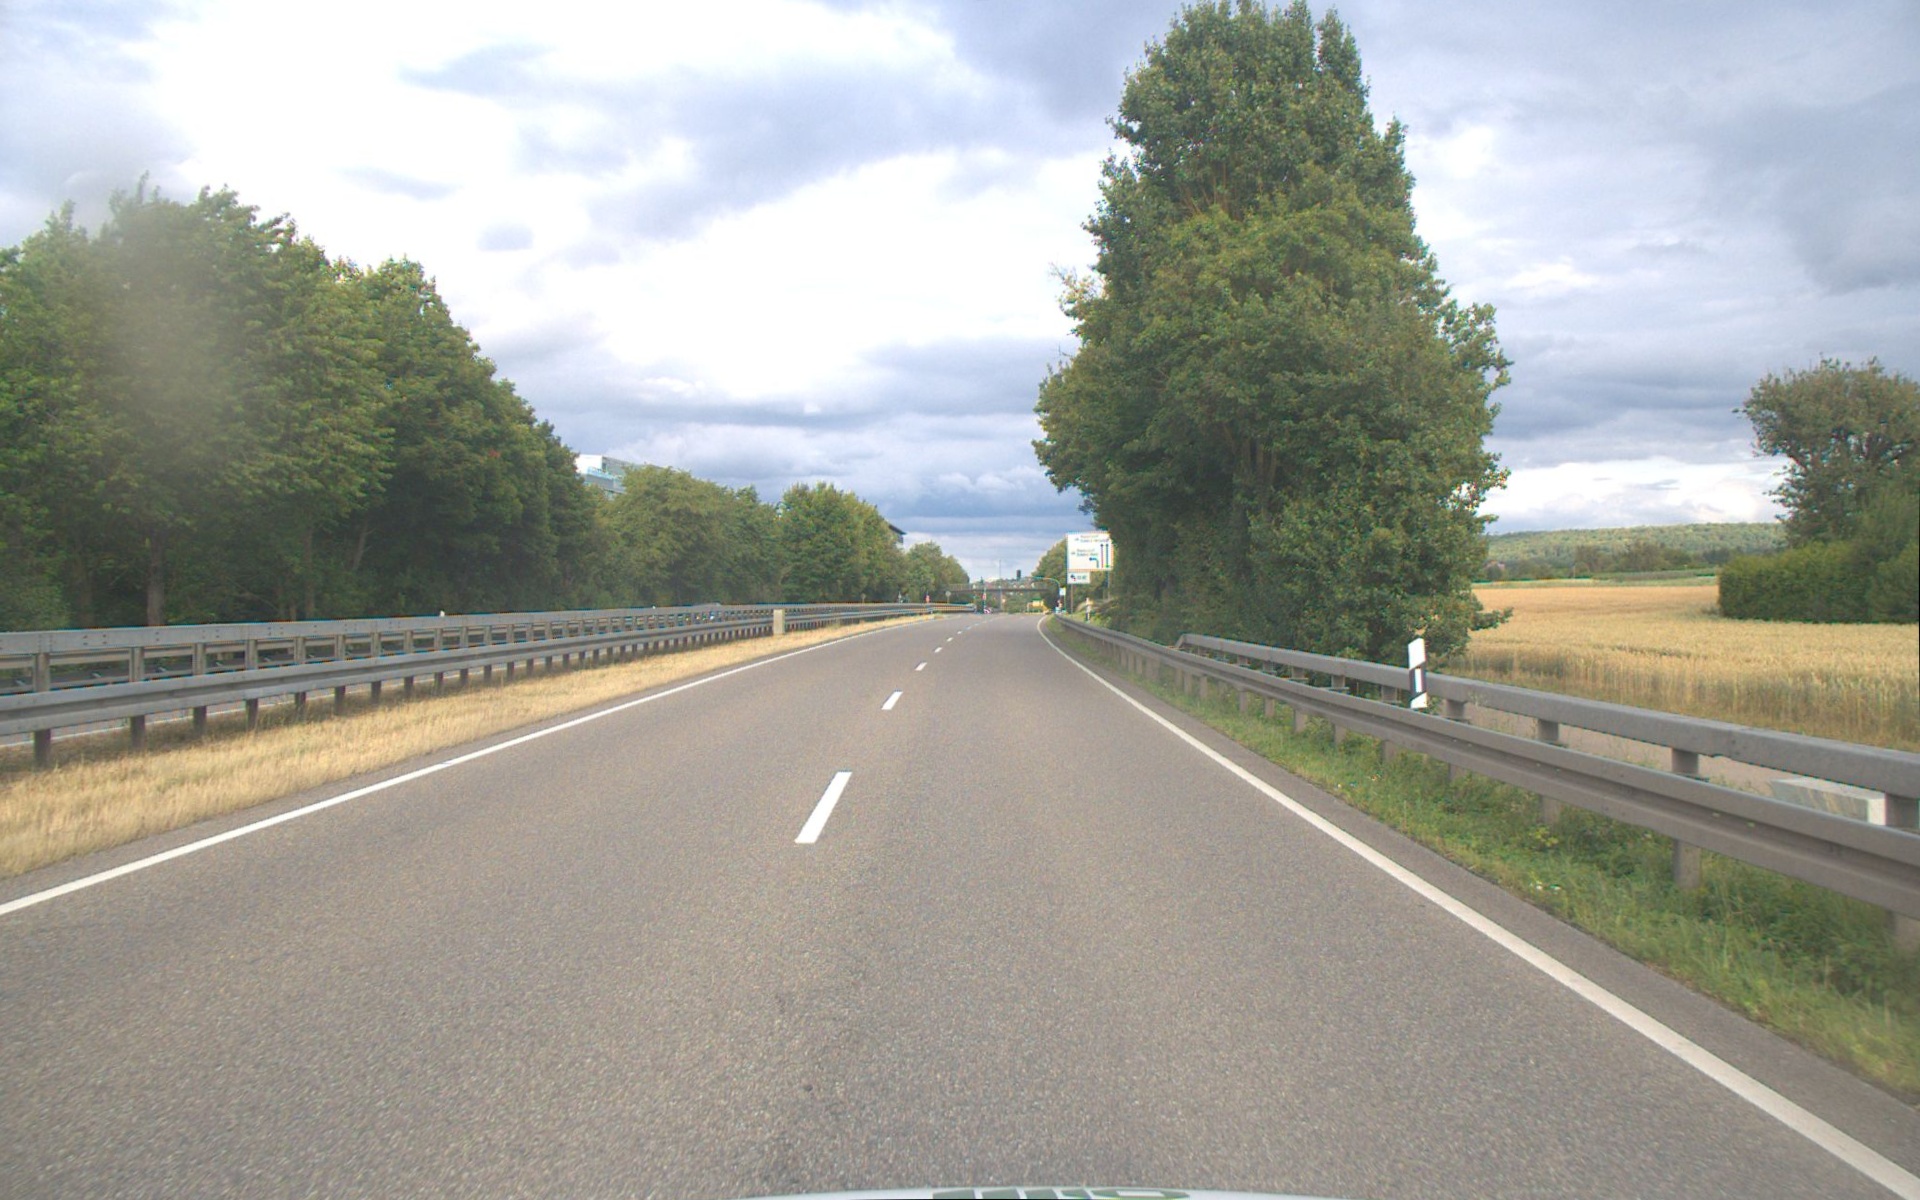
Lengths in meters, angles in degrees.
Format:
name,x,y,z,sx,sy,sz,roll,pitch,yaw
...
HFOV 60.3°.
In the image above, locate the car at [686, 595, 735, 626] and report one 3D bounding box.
name,x,y,z,sx,sy,sz,roll,pitch,yaw
car,-13.182,0.560,87.586,1.787,1.571,4.588,-1,0,1
